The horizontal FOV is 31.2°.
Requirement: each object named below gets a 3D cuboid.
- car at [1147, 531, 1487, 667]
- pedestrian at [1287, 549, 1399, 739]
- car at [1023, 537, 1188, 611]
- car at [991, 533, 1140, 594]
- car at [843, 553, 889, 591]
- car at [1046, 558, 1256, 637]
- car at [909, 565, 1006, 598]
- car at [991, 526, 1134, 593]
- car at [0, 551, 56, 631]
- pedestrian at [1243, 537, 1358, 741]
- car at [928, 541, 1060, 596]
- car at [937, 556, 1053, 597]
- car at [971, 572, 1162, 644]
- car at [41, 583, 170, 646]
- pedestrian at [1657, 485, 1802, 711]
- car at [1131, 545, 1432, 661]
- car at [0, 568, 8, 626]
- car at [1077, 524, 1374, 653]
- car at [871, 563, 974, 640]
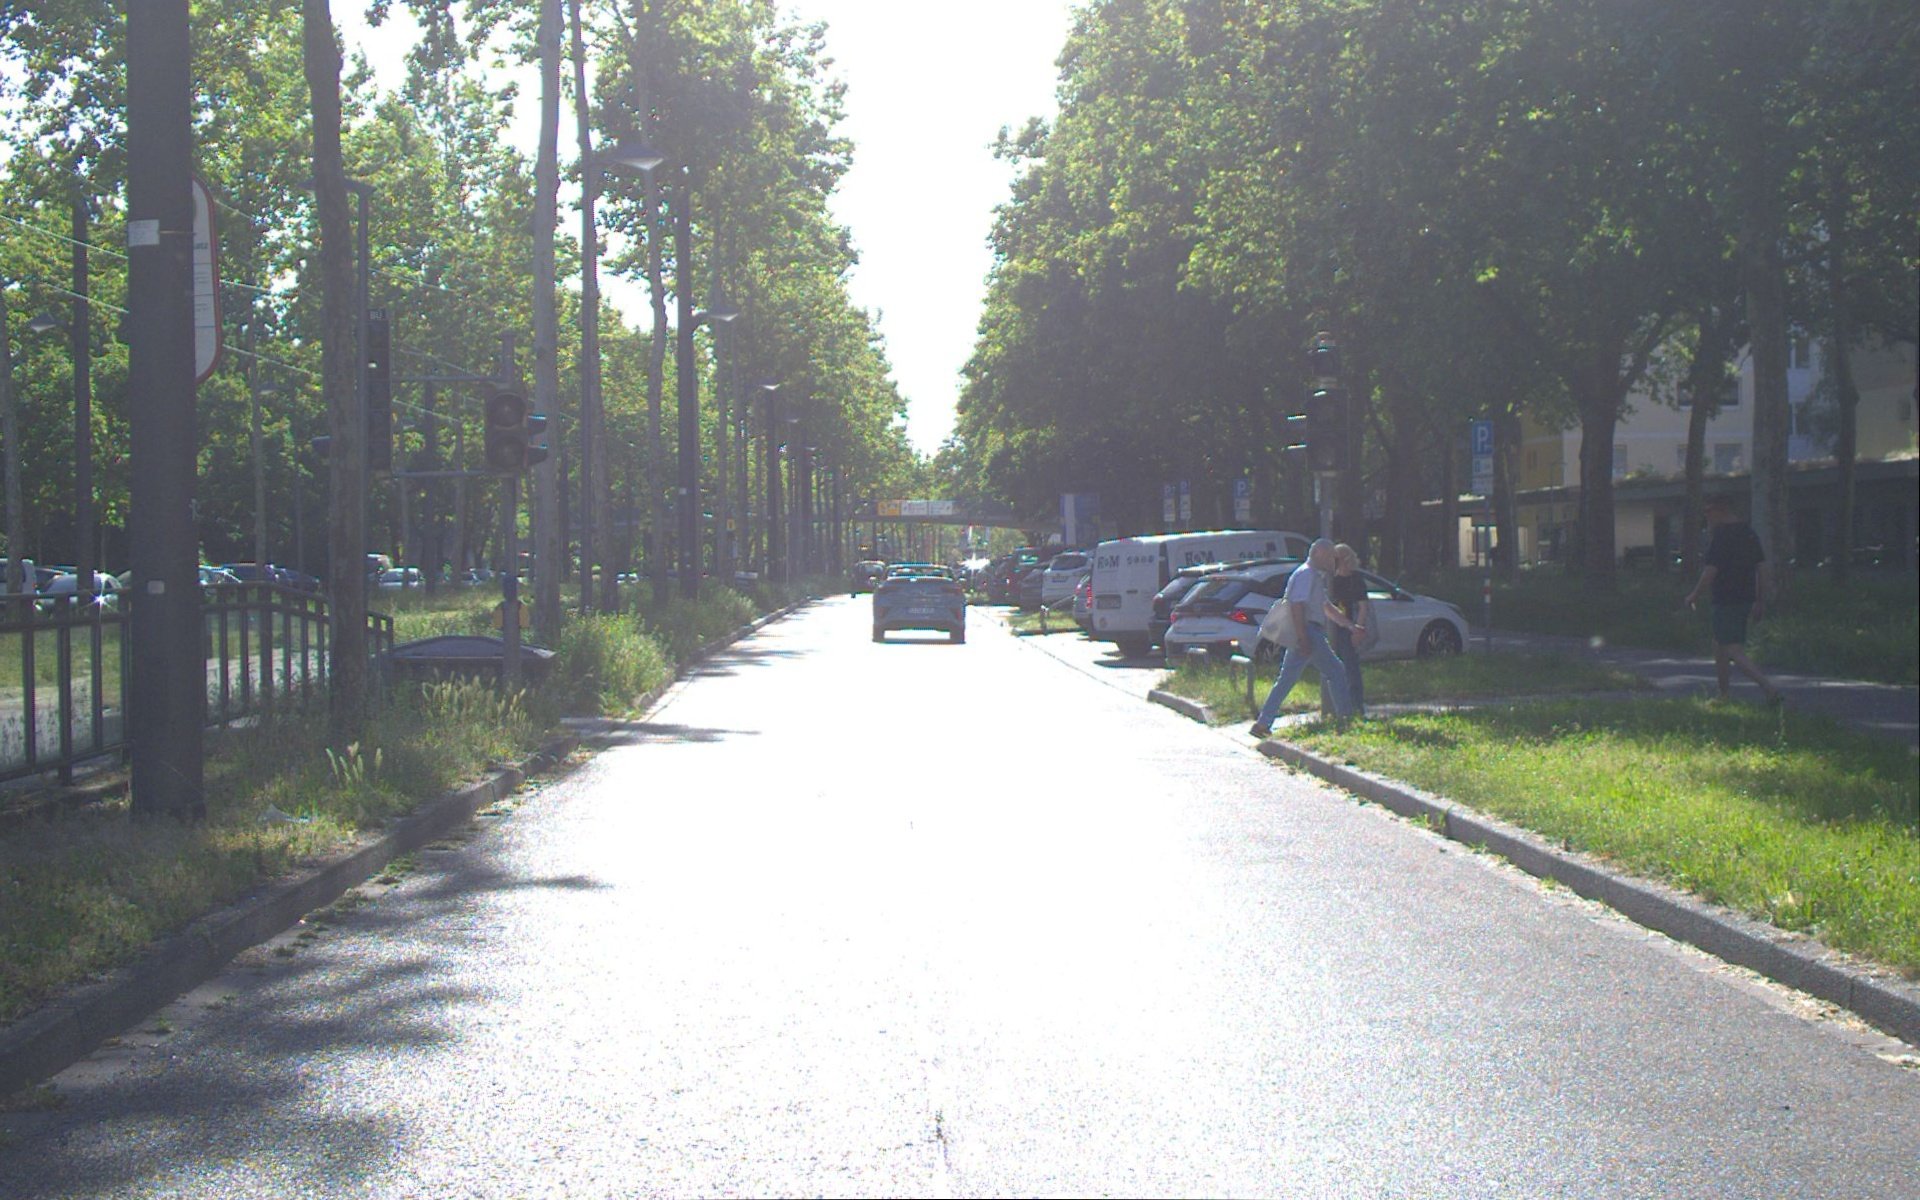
[{"bbox_3d":[4.538,-0.029,43.535,3.986,1.464,1.761,-4,2,-32],"label":"car"},{"bbox_3d":[3.527,0.401,31.660,0.710,1.700,0.654,-3,1,-35],"label":"pedestrian"},{"bbox_3d":[3.667,-0.660,86.400,4.017,1.699,1.760,-3,1,-42],"label":"car"},{"bbox_3d":[2.735,-0.950,88.912,3.777,1.465,1.650,-3,1,-44],"label":"car"},{"bbox_3d":[-3.930,-1.177,143.694,1.849,1.530,3.866,-1,1,-1],"label":"car"},{"bbox_3d":[3.798,-0.057,67.875,4.174,1.407,1.719,-3,1,-44],"label":"car"},{"bbox_3d":[-0.106,-0.893,162.906,1.978,1.454,4.613,-1,1,43],"label":"car"},{"bbox_3d":[2.991,-1.197,99.908,4.074,1.804,1.650,-3,1,-41],"label":"car"},{"bbox_3d":[-25.788,-0.220,87.943,4.784,1.999,1.892,-1,2,-39],"label":"car"},{"bbox_3d":[2.918,0.326,29.396,0.842,1.716,0.829,-1,1,14],"label":"pedestrian"},{"bbox_3d":[1.145,-1.048,113.869,4.308,1.711,1.635,-2,2,-40],"label":"car"},{"bbox_3d":[1.388,-0.913,134.210,4.482,1.438,1.855,-3,1,-44],"label":"car"},{"bbox_3d":[2.193,0.134,69.850,3.928,1.368,1.587,-2,1,-44],"label":"car"},{"bbox_3d":[-20.400,0.335,82.222,1.993,1.384,4.168,-1,1,1],"label":"car"},{"bbox_3d":[6.532,-0.025,29.207,0.925,1.878,0.800,-1,1,-15],"label":"pedestrian"},{"bbox_3d":[4.651,0.030,49.585,3.986,1.424,1.799,-4,2,-32],"label":"car"},{"bbox_3d":[-25.693,-0.034,84.632,4.074,1.427,1.579,-2,1,-43],"label":"car"},{"bbox_3d":[4.182,-0.192,53.751,4.658,1.846,1.830,-3,1,-41],"label":"car"},{"bbox_3d":[-0.762,0.006,66.971,1.922,1.406,4.000,0,1,-2],"label":"car"}]
